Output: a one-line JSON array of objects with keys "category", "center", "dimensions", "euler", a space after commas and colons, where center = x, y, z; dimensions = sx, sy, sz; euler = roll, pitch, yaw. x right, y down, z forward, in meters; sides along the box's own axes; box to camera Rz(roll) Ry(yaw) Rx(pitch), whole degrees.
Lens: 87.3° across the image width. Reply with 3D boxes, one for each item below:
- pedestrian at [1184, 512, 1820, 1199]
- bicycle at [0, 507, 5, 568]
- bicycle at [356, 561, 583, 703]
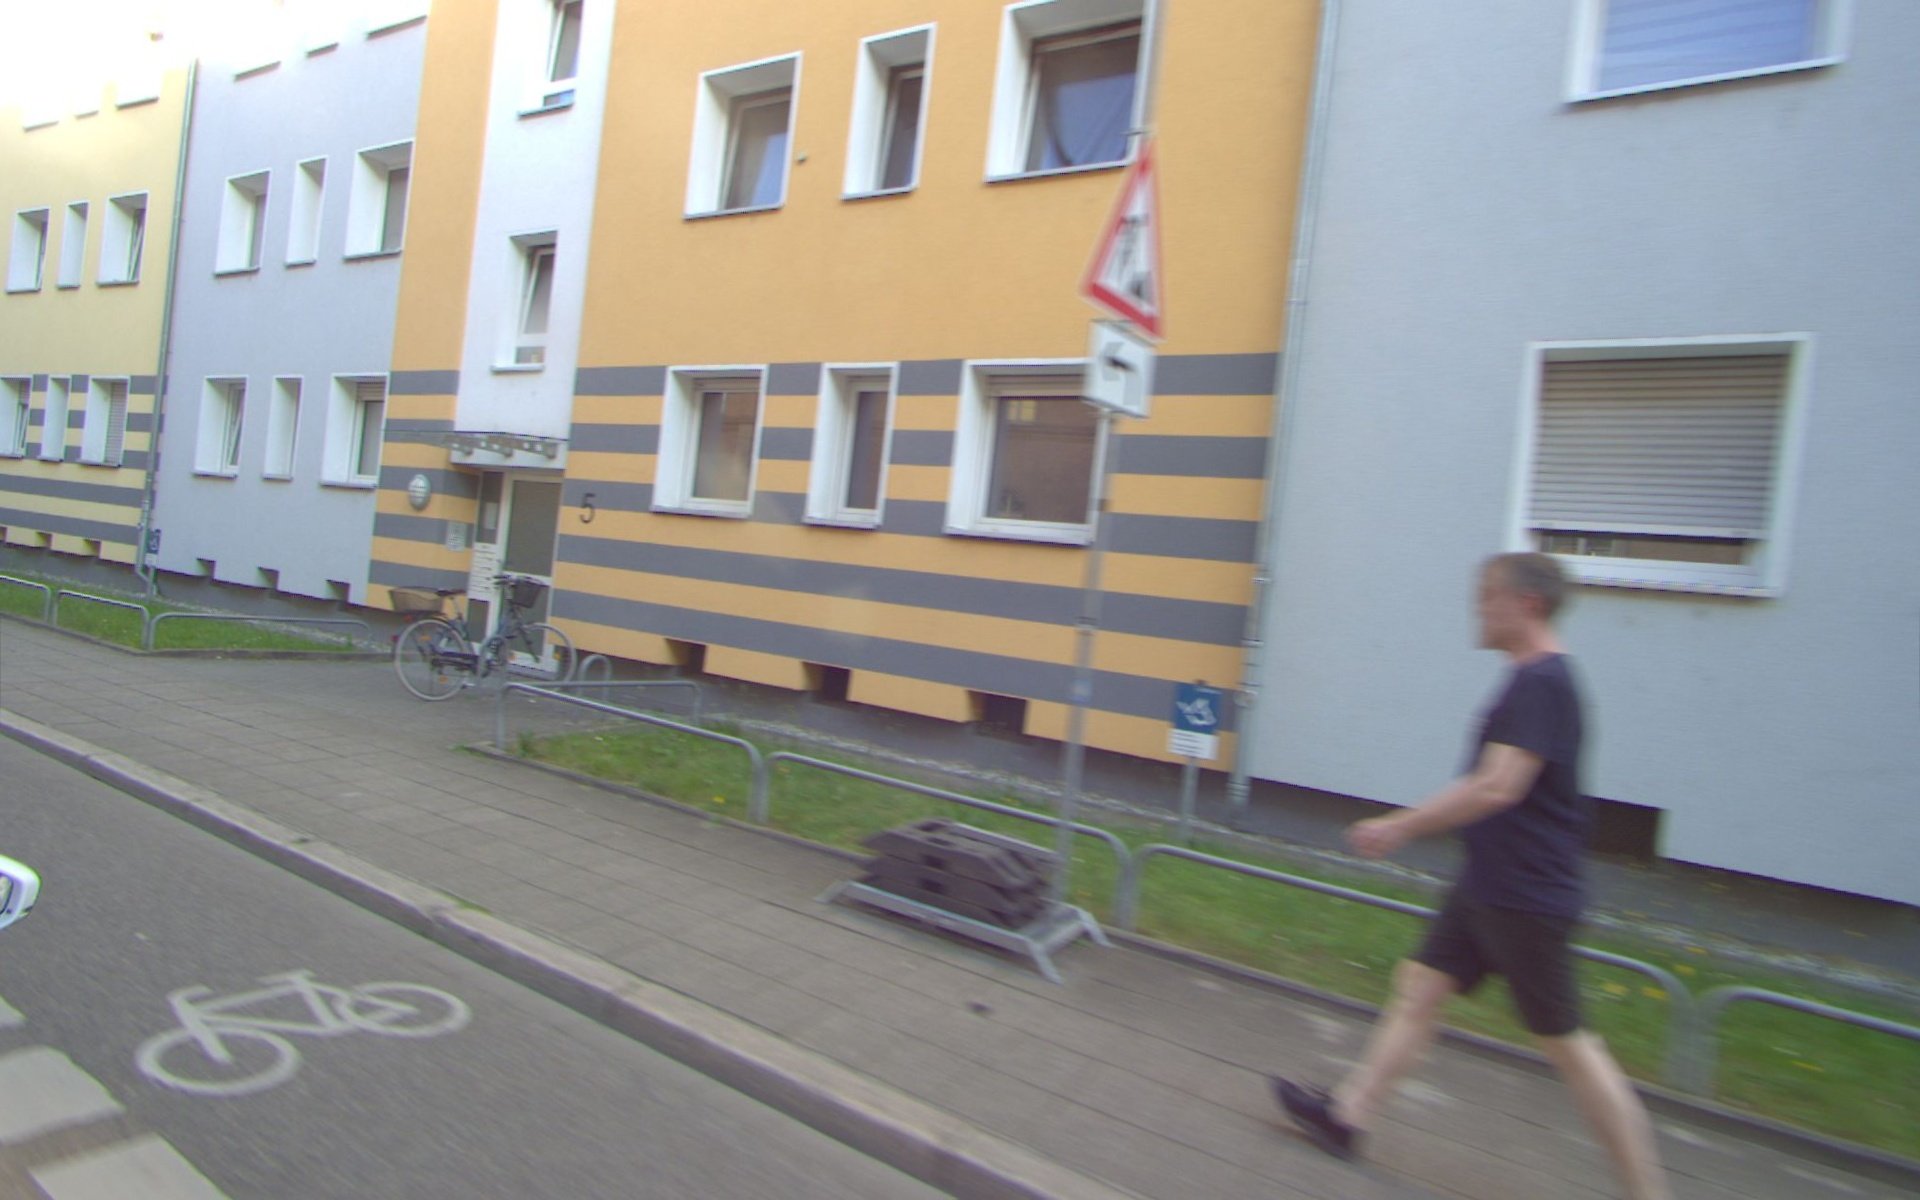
[{"category": "pedestrian", "center": [1.375, 0.720, 2.721], "dimensions": [1.169, 1.784, 0.696], "euler": [7, 3, 32]}, {"category": "bicycle", "center": [-16.551, -1.093, 16.061], "dimensions": [0.602, 1.017, 1.756], "euler": [6, 1, 27]}, {"category": "bicycle", "center": [-4.479, 0.321, 9.325], "dimensions": [0.542, 1.151, 1.813], "euler": [6, 0, 30]}]
